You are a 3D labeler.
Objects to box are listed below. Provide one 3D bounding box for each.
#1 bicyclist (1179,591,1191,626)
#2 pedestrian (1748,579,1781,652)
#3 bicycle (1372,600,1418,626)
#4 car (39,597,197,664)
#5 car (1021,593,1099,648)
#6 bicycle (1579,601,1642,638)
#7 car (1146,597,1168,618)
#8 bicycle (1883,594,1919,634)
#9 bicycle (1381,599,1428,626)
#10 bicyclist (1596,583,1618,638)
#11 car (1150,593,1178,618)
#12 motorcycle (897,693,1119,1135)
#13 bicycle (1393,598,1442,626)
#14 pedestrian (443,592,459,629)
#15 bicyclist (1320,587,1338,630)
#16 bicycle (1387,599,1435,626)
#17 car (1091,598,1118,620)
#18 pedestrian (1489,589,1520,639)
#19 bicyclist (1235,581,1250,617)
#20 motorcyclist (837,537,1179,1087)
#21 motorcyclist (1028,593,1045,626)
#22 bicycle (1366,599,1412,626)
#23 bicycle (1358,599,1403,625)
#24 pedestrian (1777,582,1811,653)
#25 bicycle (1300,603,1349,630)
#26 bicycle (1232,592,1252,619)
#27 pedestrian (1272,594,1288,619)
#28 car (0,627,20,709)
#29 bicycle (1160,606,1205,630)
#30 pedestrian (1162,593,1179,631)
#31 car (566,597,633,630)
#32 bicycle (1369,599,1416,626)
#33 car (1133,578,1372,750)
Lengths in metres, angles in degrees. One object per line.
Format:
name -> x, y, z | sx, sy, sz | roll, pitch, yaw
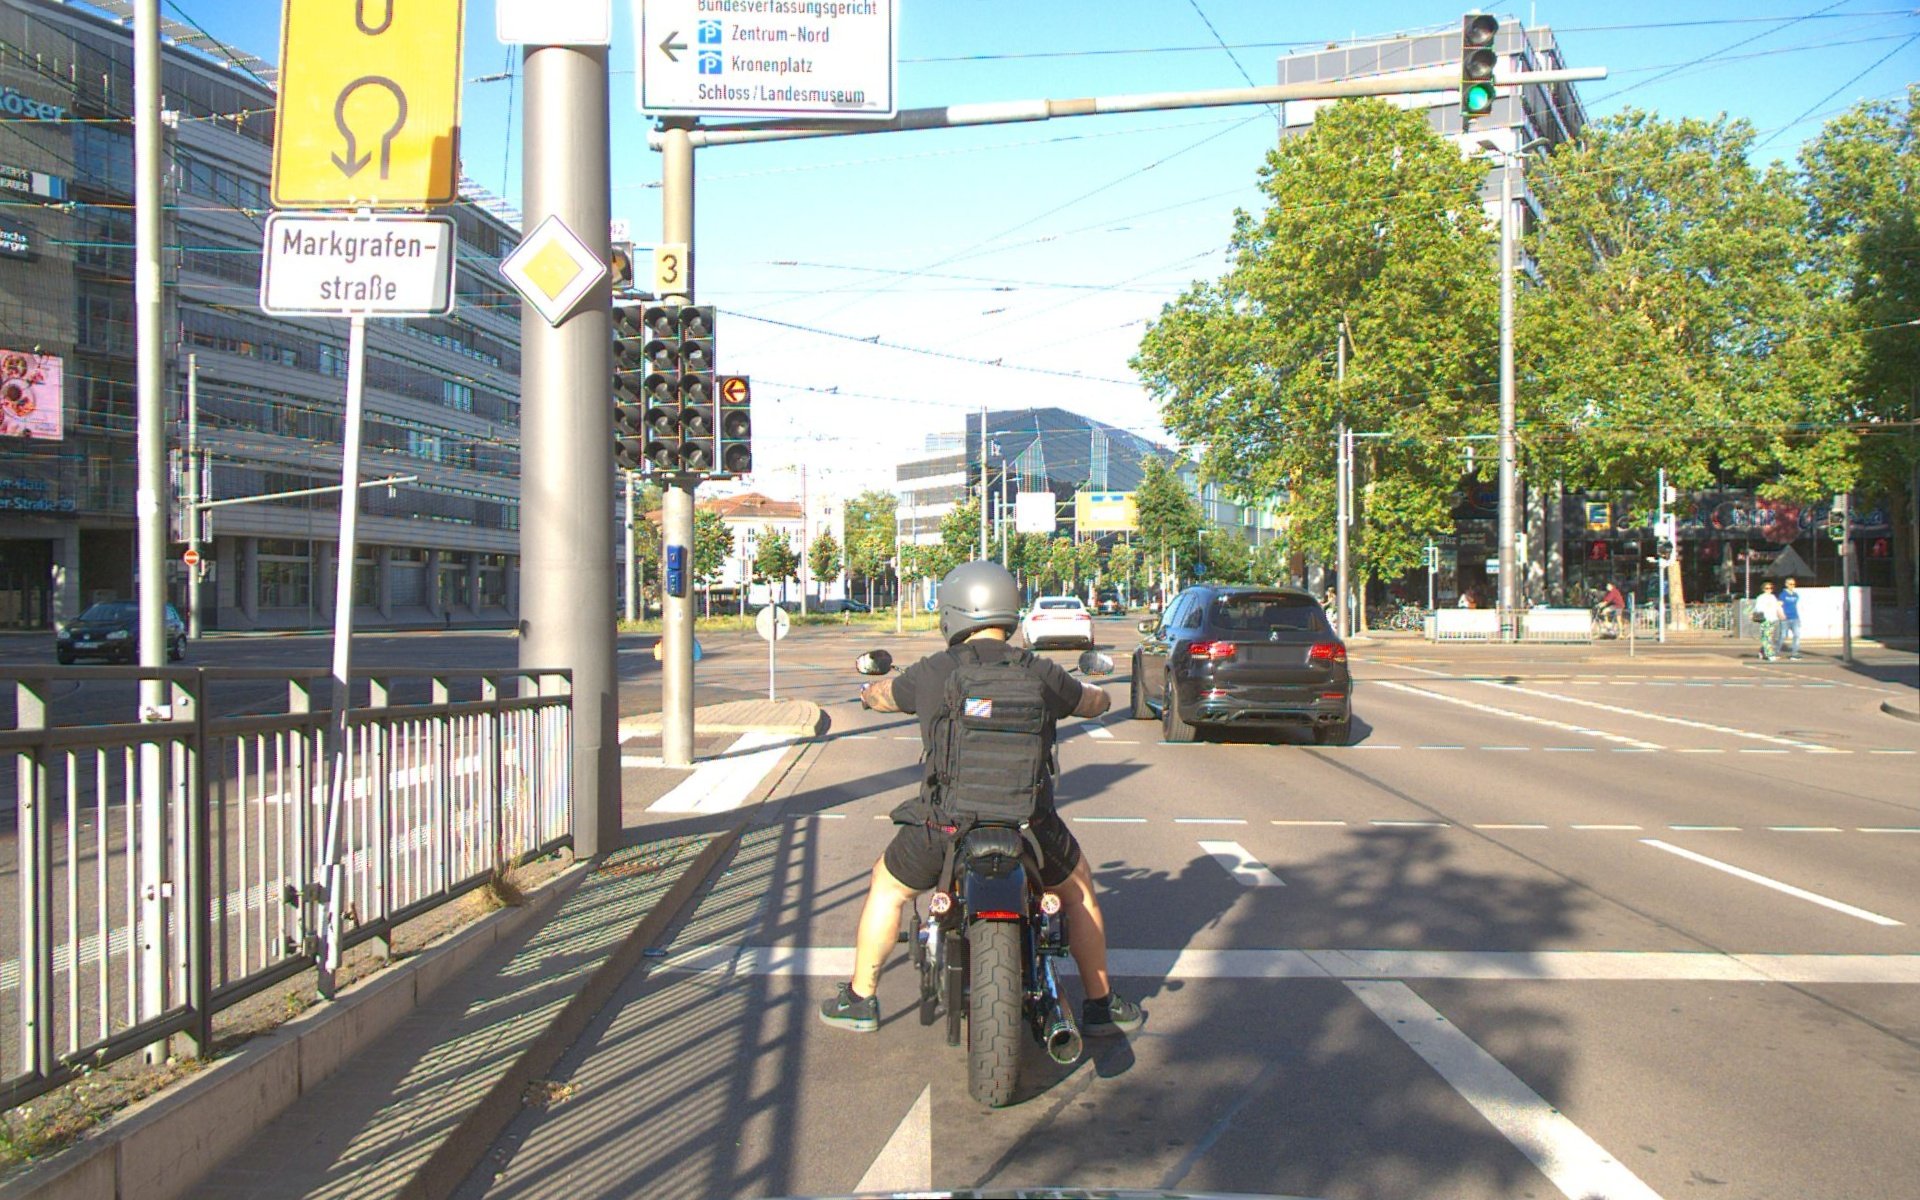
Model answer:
bicyclist -> 9.144, 0.355, 67.233 | 0.374, 1.397, 0.344 | 1, -1, -9
pedestrian -> 17.333, 0.333, 35.652 | 0.554, 1.559, 0.702 | 1, -1, 20
bicycle -> 18.085, 0.538, 68.784 | 1.842, 1.065, 0.360 | 1, -1, -2
car -> -19.684, 0.700, 38.867 | 1.789, 1.455, 4.236 | 1, -1, -5
car -> 2.741, 0.536, 46.147 | 1.767, 1.455, 4.451 | 0, 0, -2
bicycle -> 22.384, 0.681, 56.924 | 2.001, 1.235, 0.421 | 1, -1, -1
car -> 18.010, 0.712, 151.030 | 1.692, 1.870, 3.578 | 1, -1, 12
bicycle -> 29.186, 0.429, 49.904 | 2.273, 1.199, 0.568 | 1, -1, 18
bicycle -> 18.162, 0.517, 67.597 | 1.842, 1.065, 0.360 | 1, -1, -2
bicyclist -> 22.264, 0.365, 56.932 | 0.572, 1.870, 0.402 | 1, -1, -1
car -> 15.333, 0.386, 124.274 | 1.694, 1.762, 4.616 | 1, 1, 11
motorcycle -> 0.115, 0.919, 5.621 | 0.588, 1.054, 2.233 | 1, 0, -1
bicycle -> 18.246, 0.478, 66.003 | 1.842, 1.065, 0.360 | 1, -1, -2
pedestrian -> -28.135, 0.597, 91.428 | 0.617, 2.049, 0.754 | 1, -1, -1
bicyclist -> 14.592, 0.346, 65.397 | 0.673, 1.702, 0.541 | 0, -1, 18
bicycle -> 18.206, 0.497, 66.784 | 1.842, 1.065, 0.360 | 1, -1, -2
car -> 11.558, 0.709, 132.185 | 1.765, 1.708, 4.044 | 1, -1, 11
pedestrian -> 18.857, 0.488, 57.314 | 0.816, 1.734, 0.759 | 1, -1, -1
bicyclist -> 14.588, -0.048, 85.431 | 0.682, 1.840, 0.729 | 1, -1, 3
motorcyclist -> 0.136, 0.623, 5.334 | 1.009, 1.621, 0.873 | 0, 0, -1
motorcyclist -> 3.788, 0.475, 81.714 | 0.779, 1.607, 0.529 | 1, -1, 4
bicycle -> 18.096, 0.528, 69.770 | 1.842, 1.064, 0.360 | 1, 0, -2
bicycle -> 18.028, 0.528, 70.920 | 1.842, 1.064, 0.360 | 1, 0, -2
pedestrian -> 17.983, 0.374, 35.685 | 0.554, 1.505, 0.702 | 1, -1, 20
bicycle -> 14.416, 0.669, 65.450 | 1.831, 1.062, 0.537 | 0, -1, 18
bicycle -> 14.593, 0.303, 85.631 | 0.710, 1.391, 2.918 | 1, -1, 3
pedestrian -> 17.563, 0.366, 90.851 | 0.802, 1.337, 0.638 | 1, -1, 8
car -> -14.499, 0.903, 22.449 | 2.835, 1.081, 1.235 | 1, -1, -22
bicycle -> 9.043, 0.719, 67.206 | 1.792, 0.942, 0.357 | 1, -1, -9
pedestrian -> 8.782, 0.489, 68.964 | 0.576, 1.584, 0.488 | 1, -1, -9
car -> -17.280, 0.654, 79.480 | 1.712, 1.550, 4.003 | 1, -1, 11
bicycle -> 18.119, 0.530, 69.271 | 1.842, 1.064, 0.360 | 1, 0, -2
car -> 3.096, 0.621, 18.406 | 1.767, 1.623, 4.452 | 2, 0, -1
